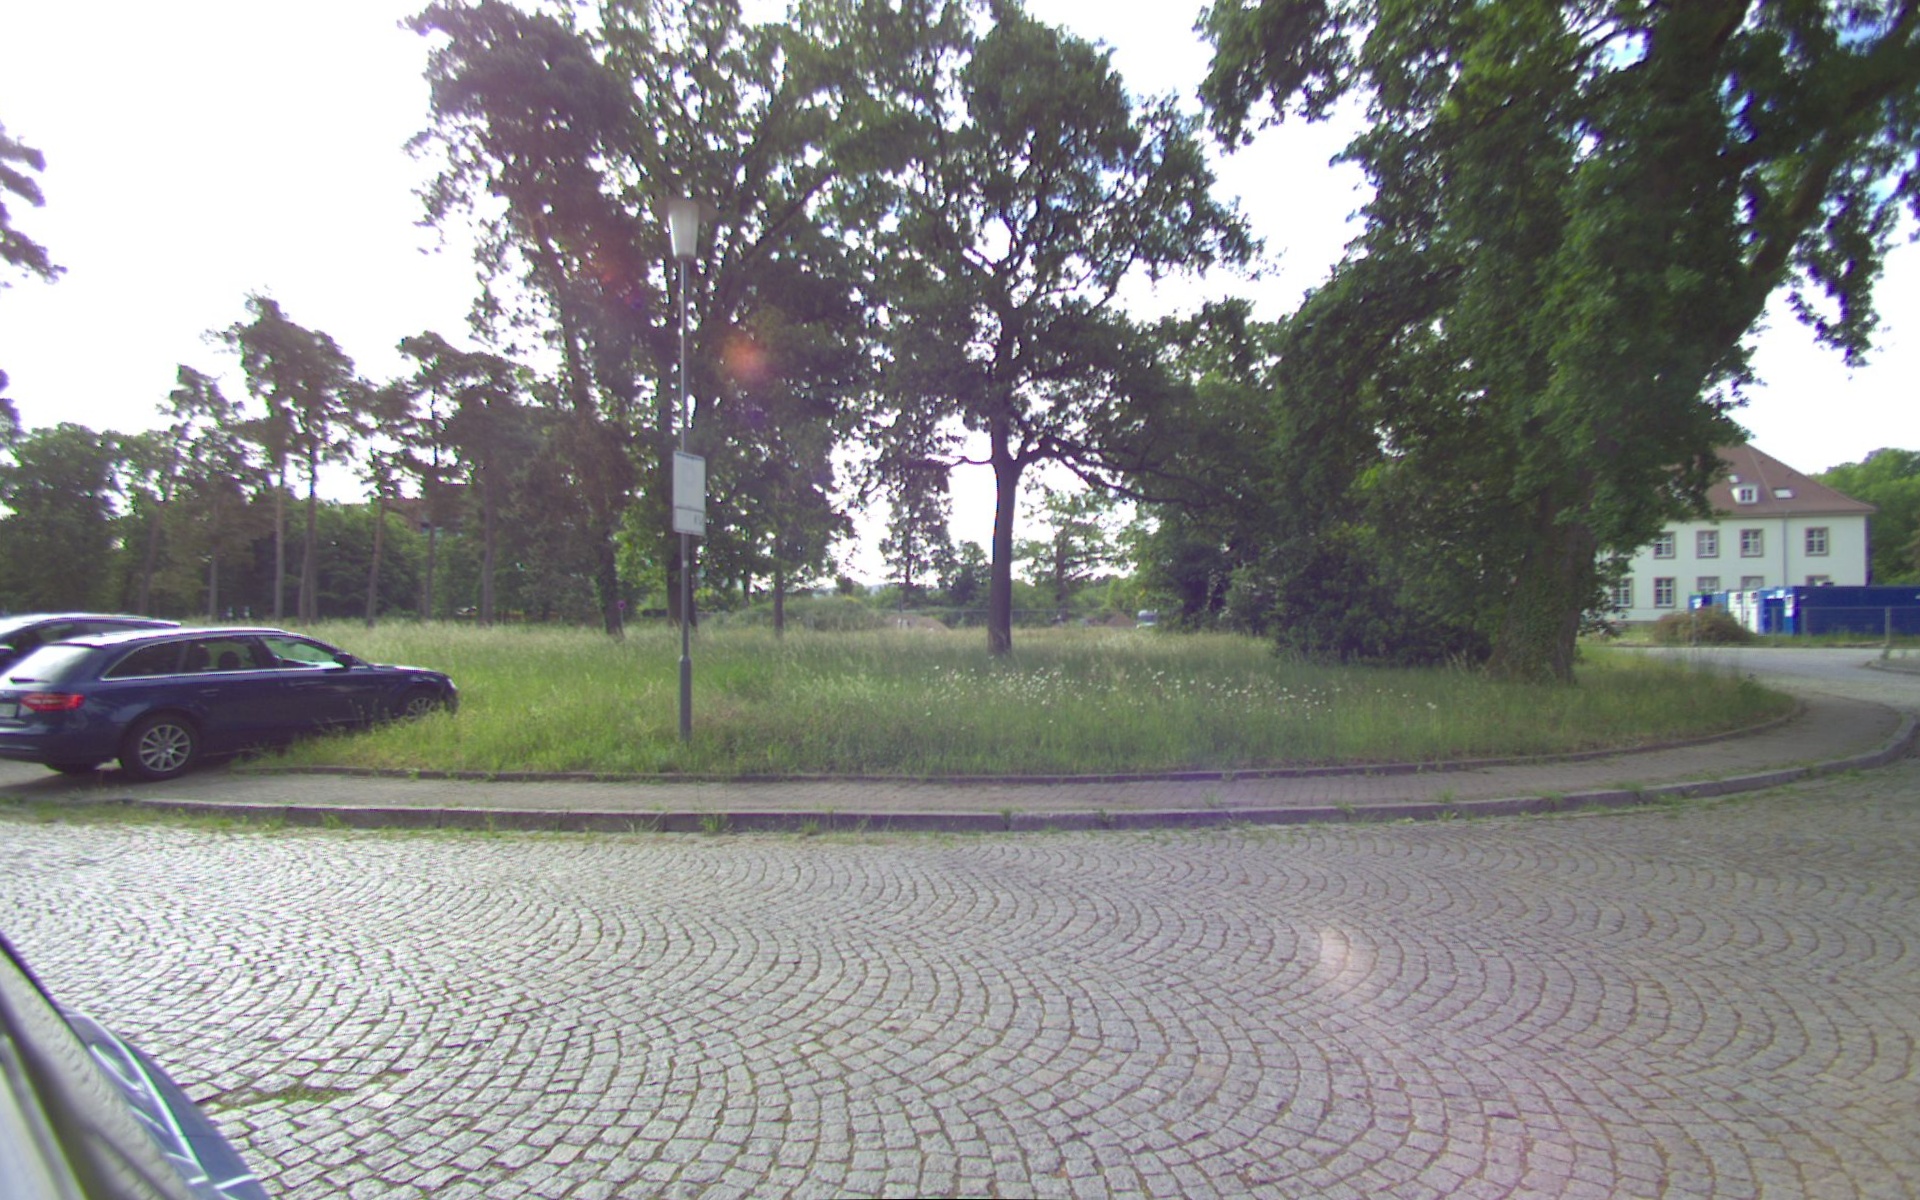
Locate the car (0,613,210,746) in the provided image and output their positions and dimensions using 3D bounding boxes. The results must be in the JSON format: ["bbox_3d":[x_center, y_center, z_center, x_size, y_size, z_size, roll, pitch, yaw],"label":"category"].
[{"bbox_3d":[-12.280,0.973,12.874,1.777,1.585,4.123,0,0,20],"label":"car"}]

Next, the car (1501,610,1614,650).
[{"bbox_3d":[35.399,1.742,60.131,5.495,2.224,2.111,0,2,23],"label":"car"}]

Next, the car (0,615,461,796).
[{"bbox_3d":[-7.934,0.946,11.034,1.672,1.491,4.408,-1,0,25],"label":"car"}]

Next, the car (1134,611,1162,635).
[{"bbox_3d":[18.178,2.218,97.619,2.023,2.028,4.203,0,2,19],"label":"car"}]
